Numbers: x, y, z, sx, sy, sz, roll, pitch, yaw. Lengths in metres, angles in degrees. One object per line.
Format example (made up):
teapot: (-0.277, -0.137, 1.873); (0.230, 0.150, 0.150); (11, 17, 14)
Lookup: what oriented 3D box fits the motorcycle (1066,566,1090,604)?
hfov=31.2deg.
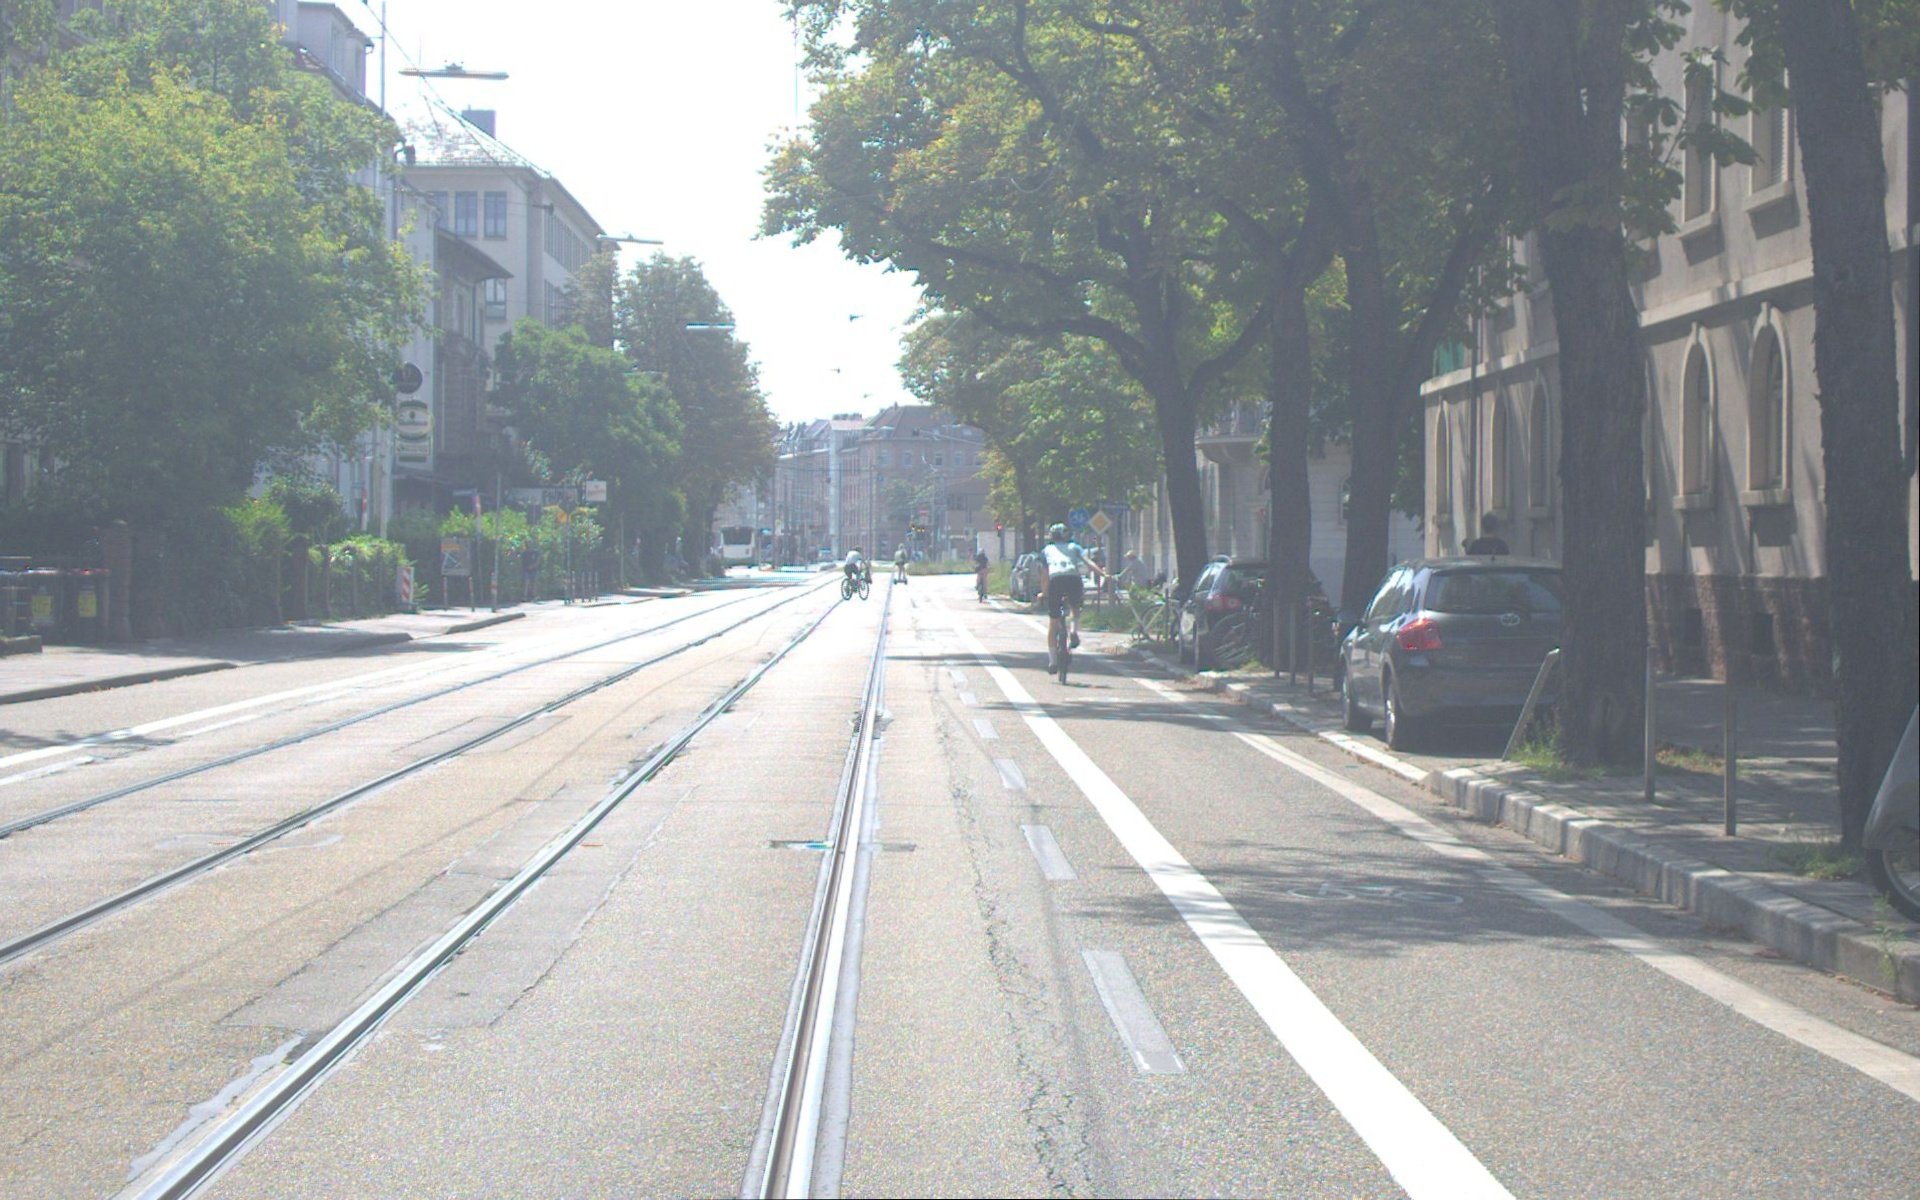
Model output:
motorcycle: (3.367, -0.434, 98.013); (0.549, 1.064, 2.330); (0, 0, -1)

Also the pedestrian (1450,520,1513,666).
pedestrian: (6.803, -0.094, 44.871); (0.706, 1.885, 0.714); (0, 0, 1)

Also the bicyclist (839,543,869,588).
bicyclist: (-3.316, -1.069, 107.387); (0.759, 1.387, 0.778); (0, 0, 13)

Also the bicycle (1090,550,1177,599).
bicycle: (4.218, -0.623, 83.537); (2.034, 1.147, 0.785); (1, 1, -2)

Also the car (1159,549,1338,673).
car: (3.772, 0.106, 45.703); (1.840, 1.527, 4.780); (-1, 1, -1)

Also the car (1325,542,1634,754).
car: (4.205, 0.336, 28.433); (1.840, 1.527, 4.115); (0, 2, -1)

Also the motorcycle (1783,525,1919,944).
motorcycle: (4.322, 0.479, 12.567); (2.344, 1.535, 0.966); (-2, -1, 40)

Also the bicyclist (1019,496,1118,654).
bicyclist: (1.266, -0.293, 40.323); (1.125, 1.830, 0.956); (0, 0, 0)

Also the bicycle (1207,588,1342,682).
bicycle: (3.798, 0.420, 41.504); (1.606, 1.100, 0.398); (1, 0, 6)

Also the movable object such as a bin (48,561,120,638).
movable object such as a bin: (-12.668, -0.012, 49.711); (0.786, 1.072, 0.803); (2, 0, 2)

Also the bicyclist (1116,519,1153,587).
bicyclist: (4.236, -1.142, 83.531); (0.823, 1.637, 0.785); (1, 1, -1)

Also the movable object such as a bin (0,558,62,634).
movable object such as a bin: (-13.490, -0.065, 49.645); (0.786, 1.072, 0.803); (2, 0, 2)

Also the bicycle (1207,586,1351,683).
bicycle: (3.882, 0.421, 41.892); (1.723, 1.145, 0.377); (1, 0, 6)

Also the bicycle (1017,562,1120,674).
bicycle: (1.263, 0.186, 40.496); (1.148, 1.265, 2.712); (0, 1, 1)

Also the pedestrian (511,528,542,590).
pedestrian: (-12.372, -1.171, 98.146); (0.779, 1.750, 1.040); (0, 0, 0)

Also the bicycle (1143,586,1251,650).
bicycle: (3.845, 0.295, 55.906); (1.713, 1.028, 0.566); (0, 0, 0)

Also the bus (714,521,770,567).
bus: (-16.655, -4.252, 263.473); (3.735, 3.352, 15.120); (0, 0, -1)

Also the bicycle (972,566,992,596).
bicycle: (0.677, -0.588, 106.122); (0.588, 0.936, 2.172); (0, 0, 1)

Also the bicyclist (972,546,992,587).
bicyclist: (0.676, -1.036, 106.105); (0.579, 1.274, 0.471); (0, 0, 1)

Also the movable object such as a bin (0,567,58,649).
movable object such as a bin: (-12.563, 0.101, 46.000); (0.786, 1.072, 0.755); (2, 0, -3)

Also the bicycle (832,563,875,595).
bicycle: (-3.320, -0.667, 107.407); (0.759, 0.987, 2.296); (0, 0, 13)
